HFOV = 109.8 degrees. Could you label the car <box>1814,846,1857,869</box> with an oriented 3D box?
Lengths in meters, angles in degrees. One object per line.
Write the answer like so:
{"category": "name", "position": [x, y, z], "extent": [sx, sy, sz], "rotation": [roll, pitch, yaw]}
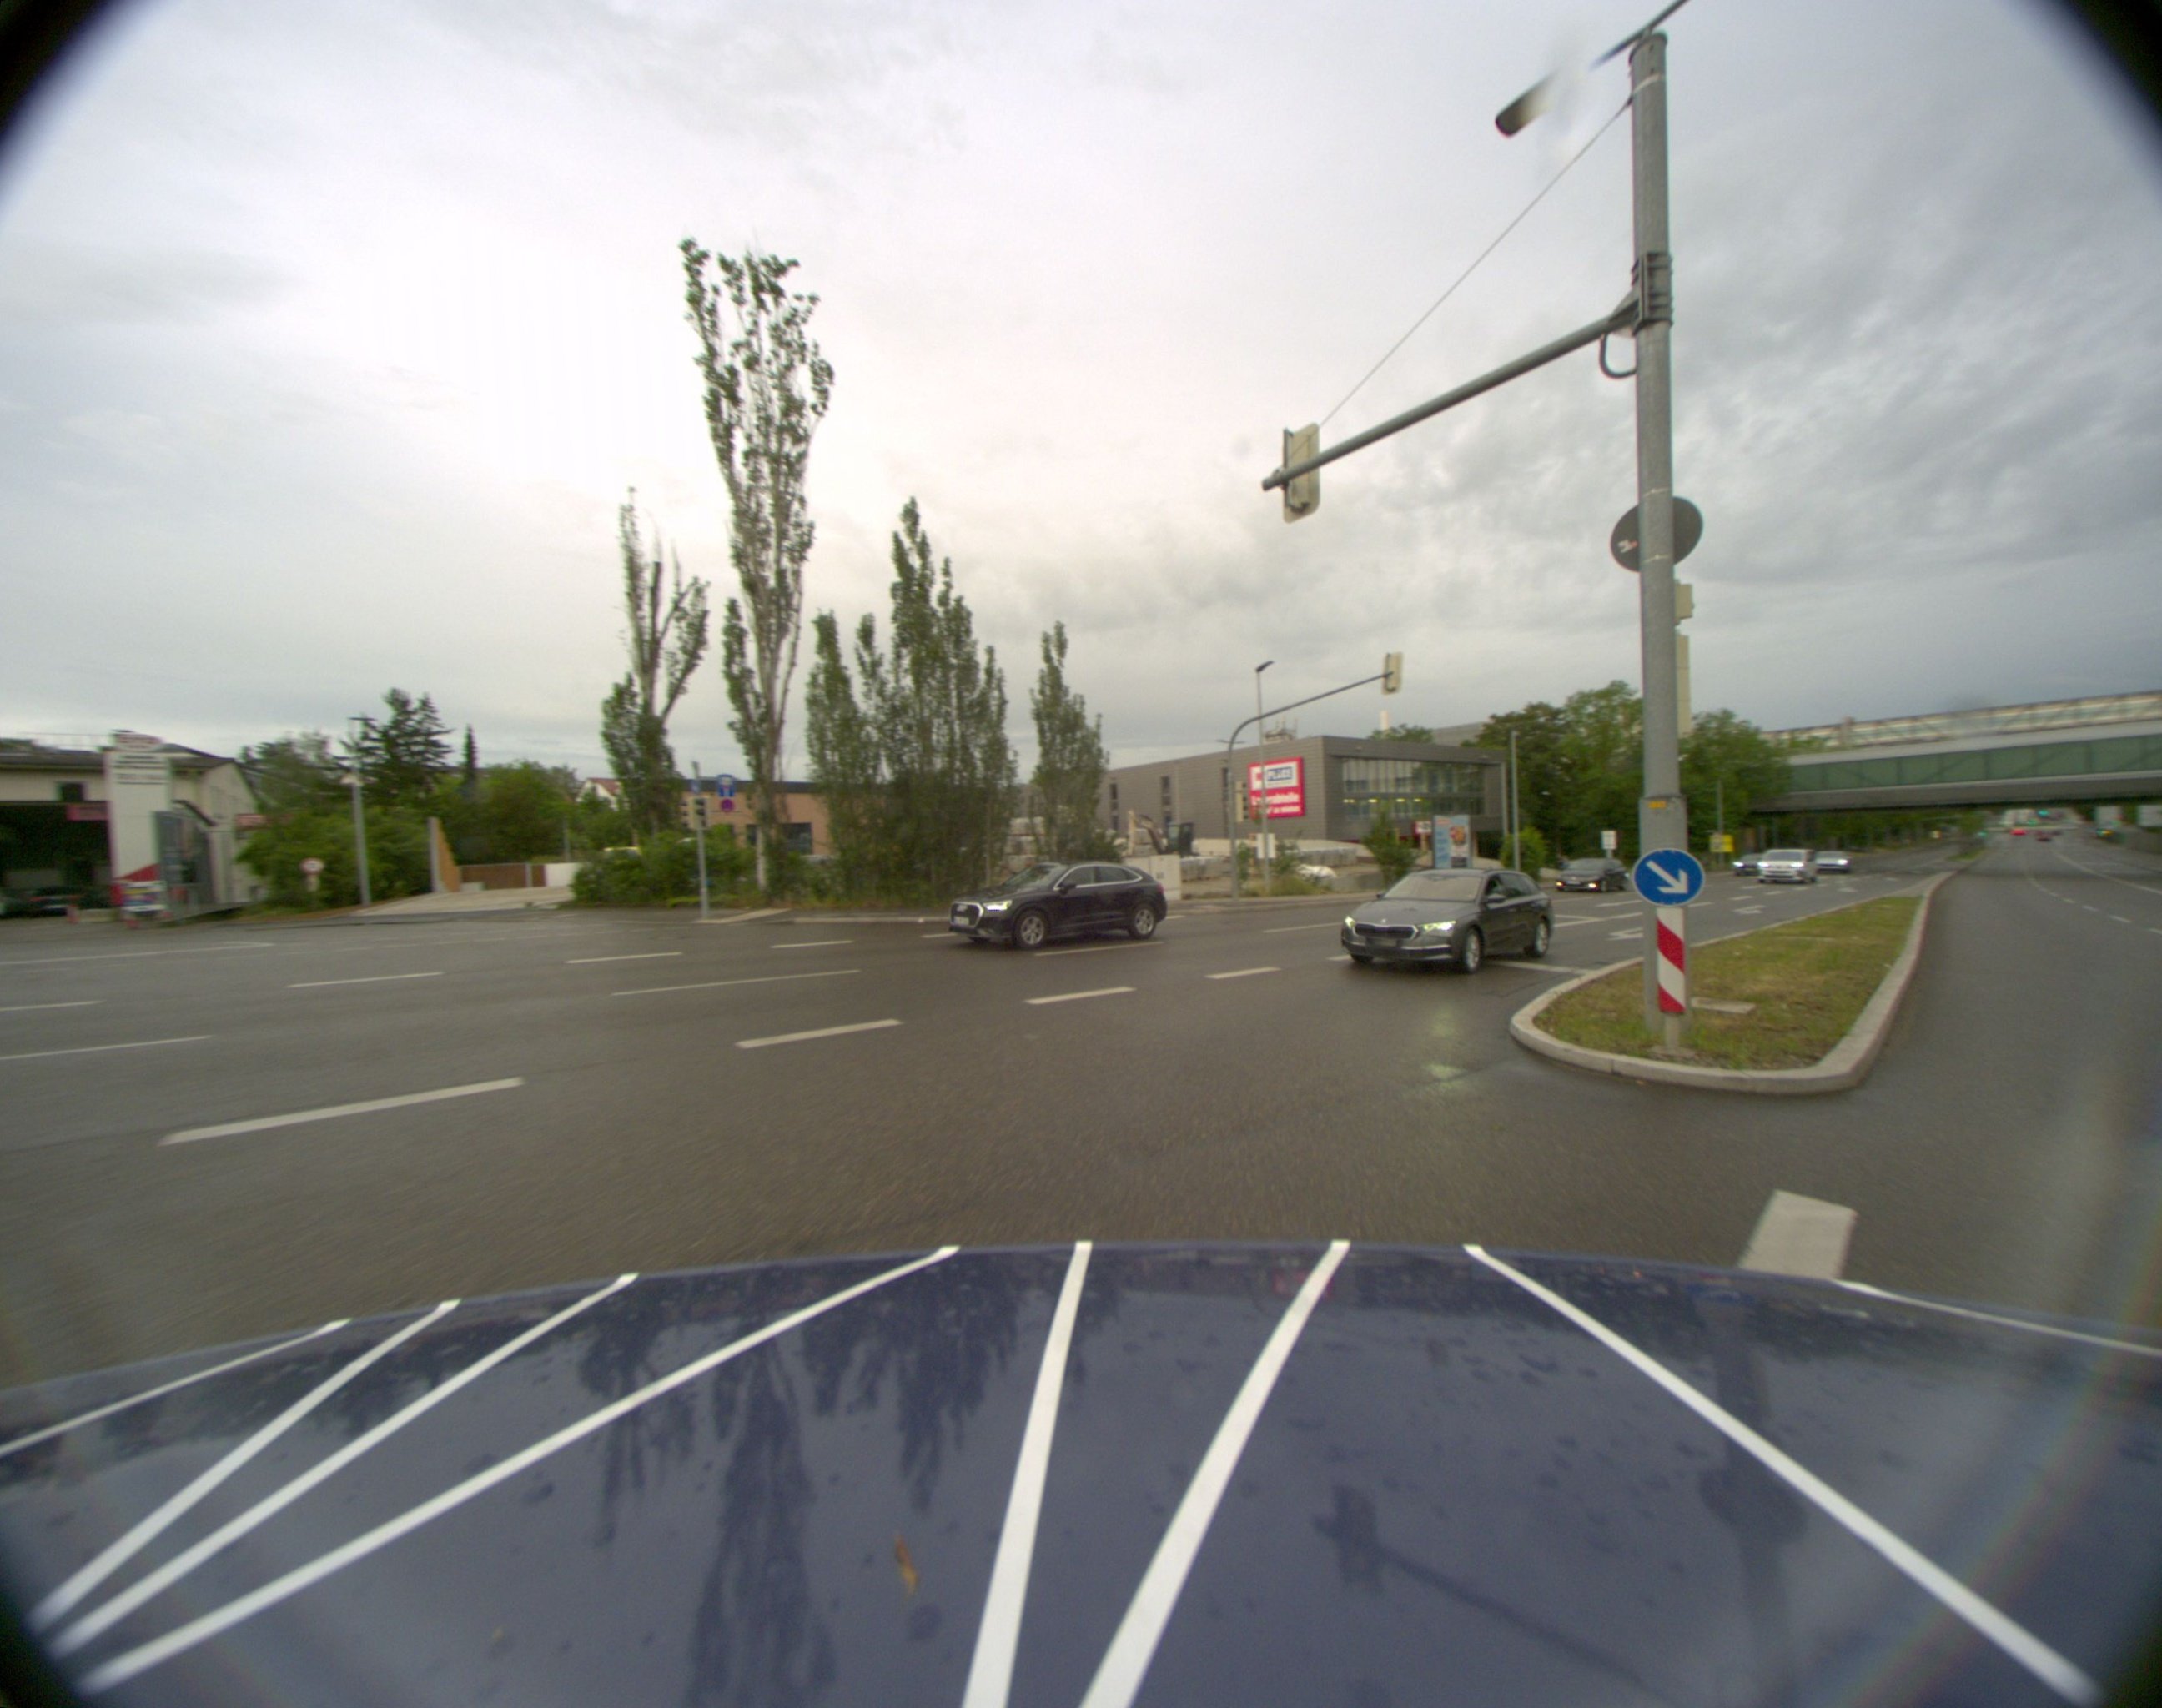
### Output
{"category": "car", "position": [57.565, 0.253, 57.916], "extent": [4.635, 1.692, 1.835], "rotation": [0, 0, -39]}

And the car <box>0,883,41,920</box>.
{"category": "car", "position": [-50.985, 2.218, 35.659], "extent": [1.750, 1.641, 3.989], "rotation": [0, 0, -41]}

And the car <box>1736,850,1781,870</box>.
{"category": "car", "position": [49.226, 0.408, 55.198], "extent": [4.050, 1.396, 1.835], "rotation": [0, 0, -39]}

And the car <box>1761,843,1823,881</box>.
{"category": "car", "position": [40.134, 0.445, 42.850], "extent": [5.204, 2.022, 1.835], "rotation": [0, 0, -39]}

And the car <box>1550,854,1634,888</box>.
{"category": "car", "position": [22.521, 0.716, 33.424], "extent": [4.492, 1.396, 1.835], "rotation": [0, 0, -39]}

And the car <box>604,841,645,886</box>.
{"category": "car", "position": [-25.179, 0.504, 41.872], "extent": [1.750, 2.301, 5.209], "rotation": [0, 0, -33]}

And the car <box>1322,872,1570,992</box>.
{"category": "car", "position": [5.753, 1.048, 11.771], "extent": [4.210, 1.448, 1.835], "rotation": [0, 0, -39]}

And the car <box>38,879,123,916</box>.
{"category": "car", "position": [-48.843, 2.074, 37.190], "extent": [1.750, 1.641, 3.989], "rotation": [0, 0, -41]}

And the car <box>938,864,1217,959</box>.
{"category": "car", "position": [0.121, 0.974, 14.905], "extent": [5.546, 1.491, 1.835], "rotation": [0, 0, -39]}

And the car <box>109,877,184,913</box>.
{"category": "car", "position": [-47.114, 2.024, 38.405], "extent": [1.750, 1.641, 3.989], "rotation": [0, 0, -41]}

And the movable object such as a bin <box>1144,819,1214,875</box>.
{"category": "movable object such as a bin", "position": [4.788, -0.315, 37.017], "extent": [3.005, 2.611, 1.923], "rotation": [0, 0, -45]}
